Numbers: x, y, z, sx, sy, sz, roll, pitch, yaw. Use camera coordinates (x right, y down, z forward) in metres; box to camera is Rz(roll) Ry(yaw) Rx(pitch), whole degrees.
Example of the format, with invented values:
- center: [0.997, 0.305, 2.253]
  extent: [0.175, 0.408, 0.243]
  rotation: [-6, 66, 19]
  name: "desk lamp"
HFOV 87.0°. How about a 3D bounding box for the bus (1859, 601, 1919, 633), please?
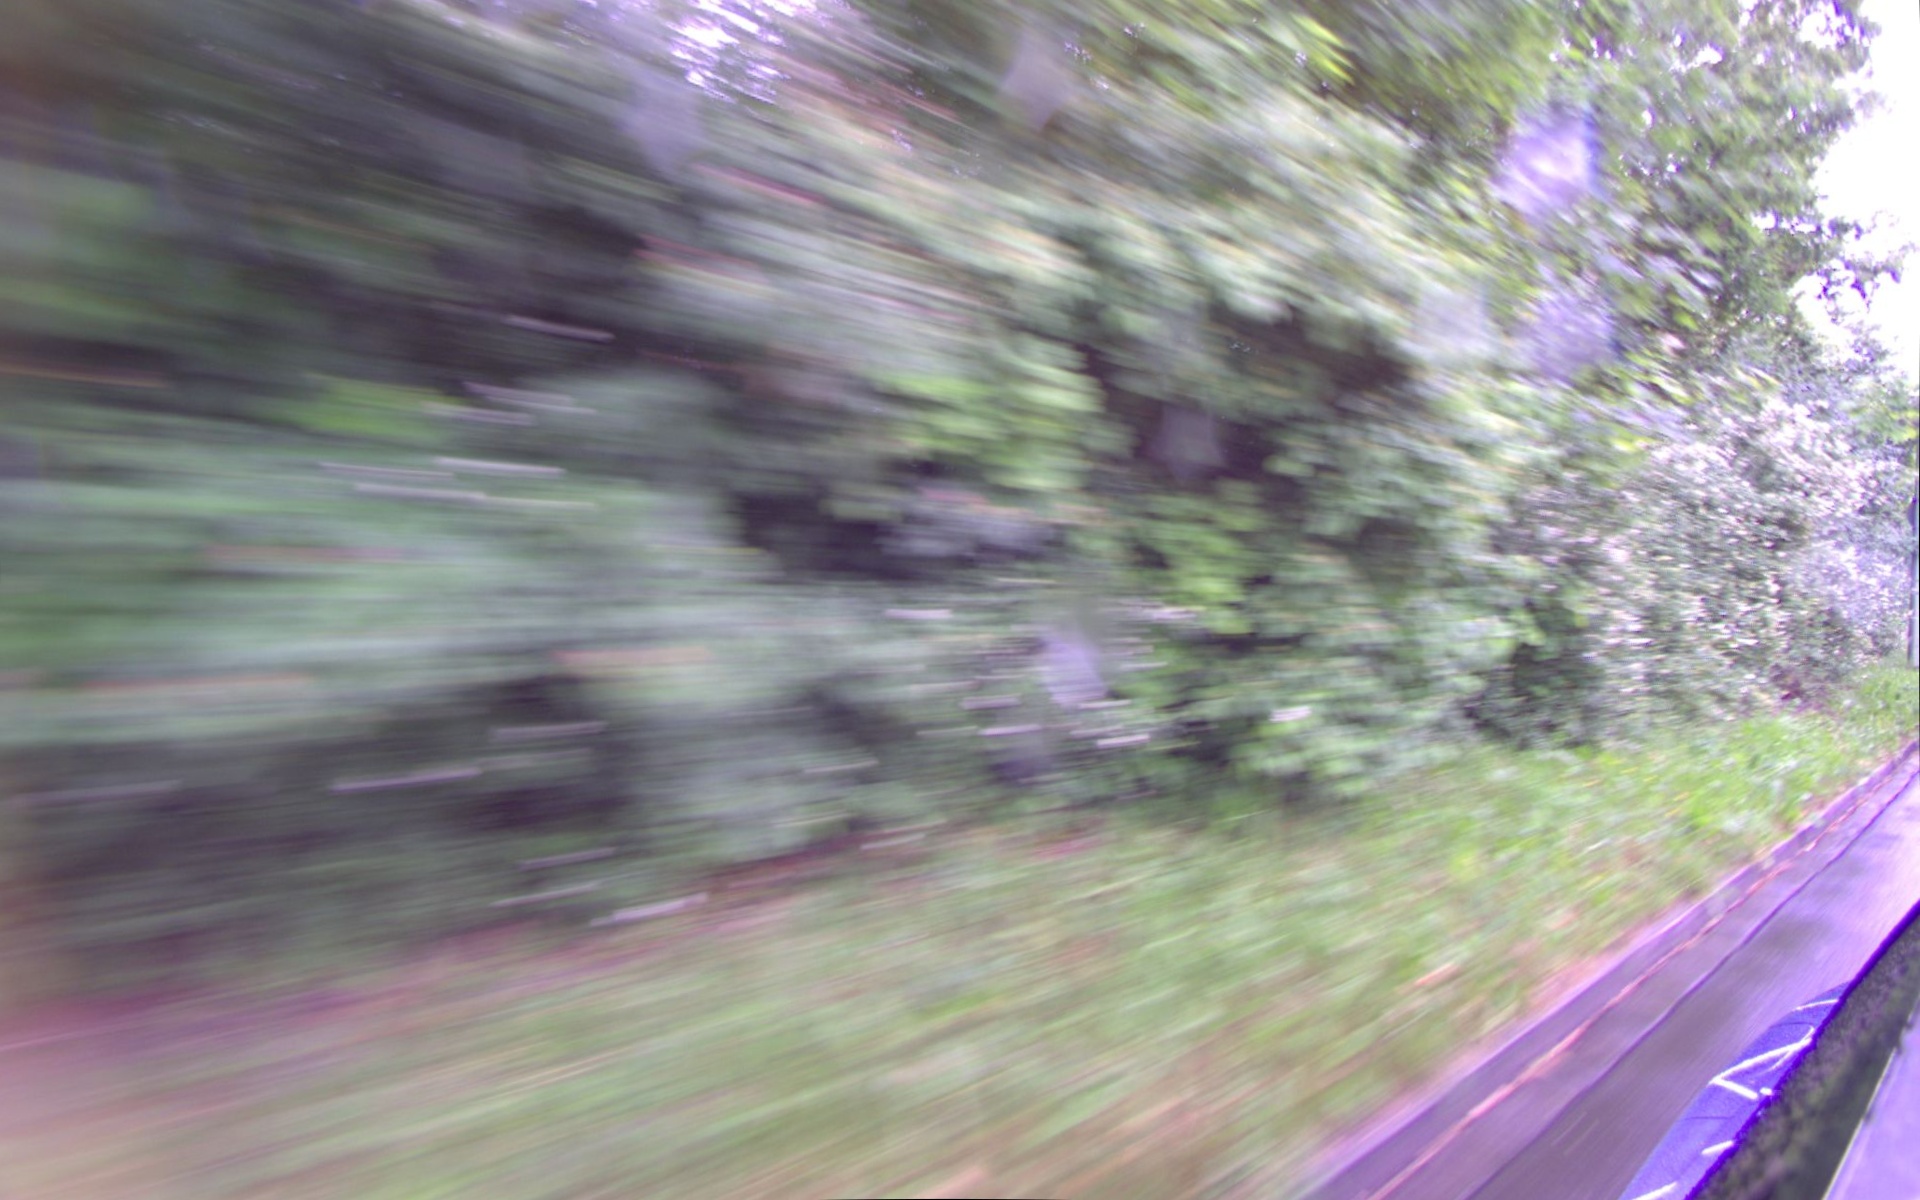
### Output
- center: [89.899, 1.560, 95.295]
  extent: [10.168, 2.822, 2.905]
  rotation: [-1, -1, -17]
  name: "bus"
